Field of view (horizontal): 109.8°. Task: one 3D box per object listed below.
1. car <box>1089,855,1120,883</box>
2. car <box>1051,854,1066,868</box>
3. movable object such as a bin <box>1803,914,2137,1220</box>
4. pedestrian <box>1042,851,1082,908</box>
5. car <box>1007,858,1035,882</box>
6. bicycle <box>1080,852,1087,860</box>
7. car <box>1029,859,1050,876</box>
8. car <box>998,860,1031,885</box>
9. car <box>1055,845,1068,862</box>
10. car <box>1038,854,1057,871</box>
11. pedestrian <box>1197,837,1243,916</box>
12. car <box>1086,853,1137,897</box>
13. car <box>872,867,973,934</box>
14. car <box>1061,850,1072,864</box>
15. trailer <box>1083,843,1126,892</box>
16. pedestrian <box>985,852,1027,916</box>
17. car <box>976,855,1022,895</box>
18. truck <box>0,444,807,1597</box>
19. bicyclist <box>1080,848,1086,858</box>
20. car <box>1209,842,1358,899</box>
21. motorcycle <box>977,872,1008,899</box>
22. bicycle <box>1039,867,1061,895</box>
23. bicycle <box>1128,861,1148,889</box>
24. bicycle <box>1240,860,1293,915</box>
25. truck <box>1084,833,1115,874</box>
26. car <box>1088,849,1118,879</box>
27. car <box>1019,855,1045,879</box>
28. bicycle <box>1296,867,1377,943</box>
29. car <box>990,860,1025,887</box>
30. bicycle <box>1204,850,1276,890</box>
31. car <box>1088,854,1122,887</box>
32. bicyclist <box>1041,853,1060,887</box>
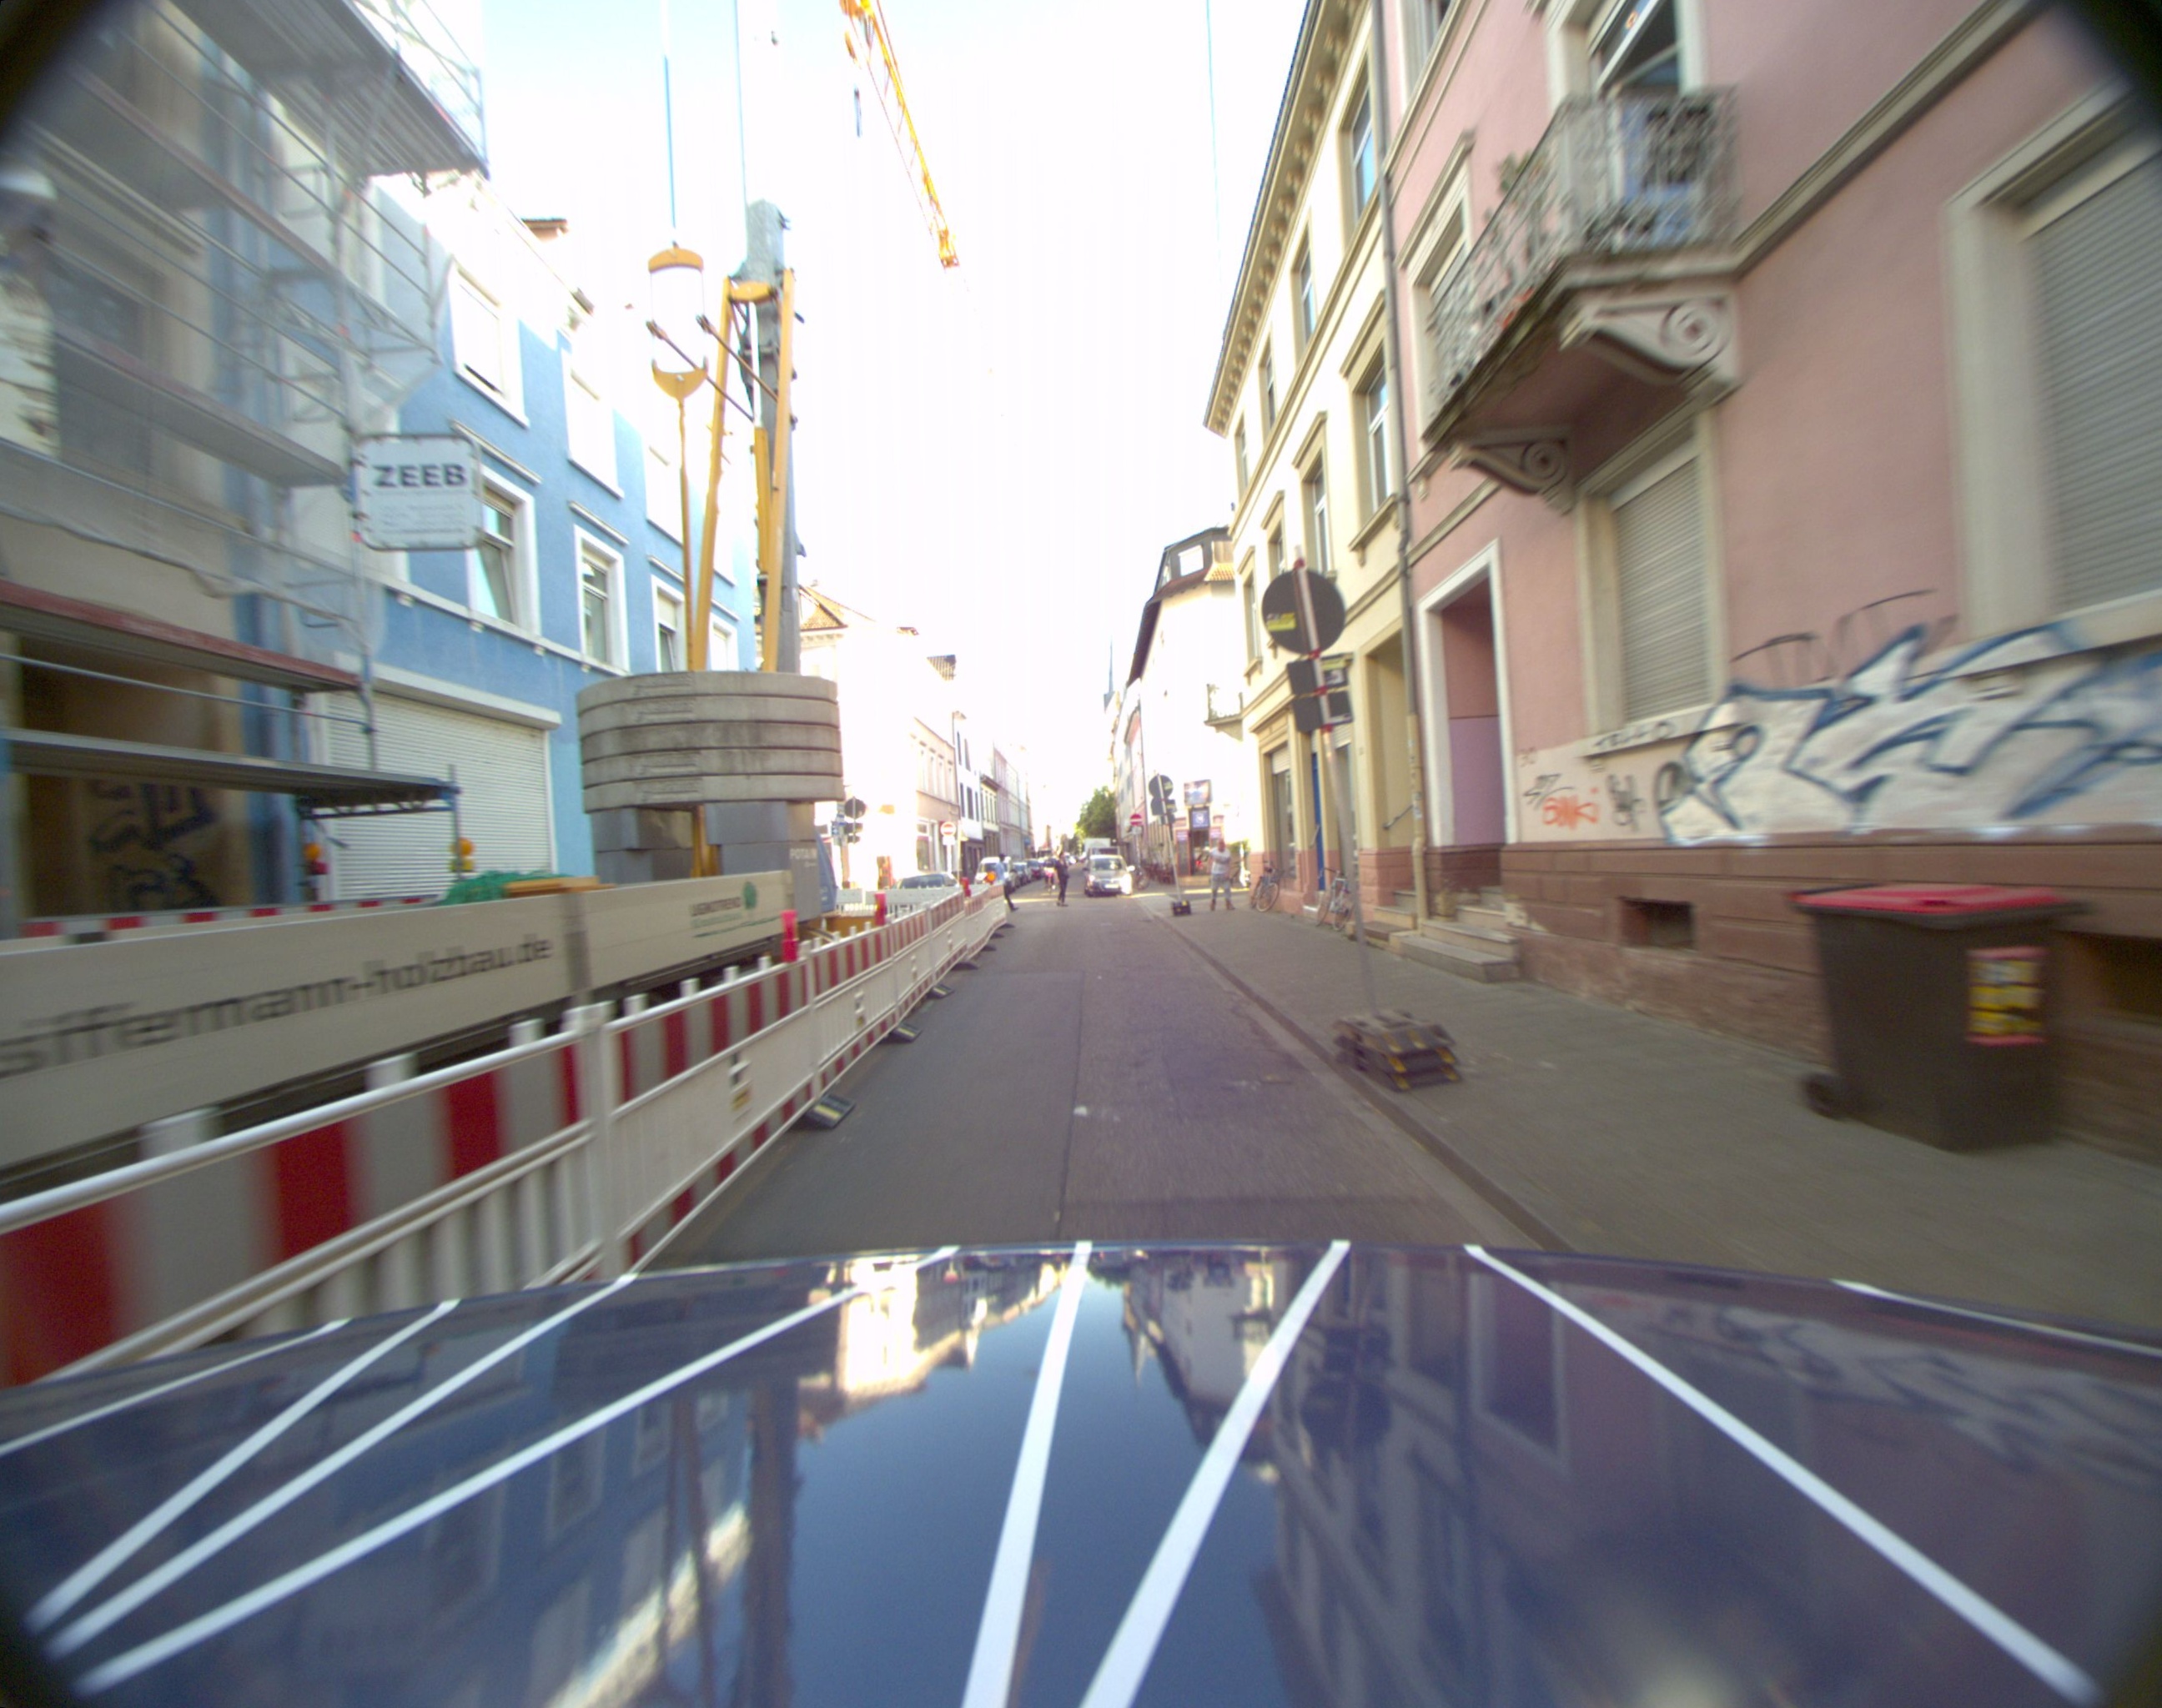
[{"bbox_3d":[1.339,0.853,44.934,1.677,1.488,4.530,-2,1,0],"label":"car"},{"bbox_3d":[-3.477,1.057,115.133,1.999,2.002,4.562,-5,1,-3],"label":"car"},{"bbox_3d":[3.548,0.806,3.085,0.607,1.029,0.596,-5,1,-1],"label":"movable object such as a bin"},{"bbox_3d":[-0.623,0.790,24.467,0.830,1.782,0.987,-2,1,-38],"label":"pedestrian"},{"bbox_3d":[-4.195,1.113,53.913,1.620,1.495,3.772,-2,1,0],"label":"car"},{"bbox_3d":[0.566,0.421,167.657,1.020,1.641,3.546,-5,1,-4],"label":"bicycle"},{"bbox_3d":[-3.790,1.209,69.315,1.613,1.388,3.881,-2,1,0],"label":"car"},{"bbox_3d":[-4.274,1.176,49.387,1.736,1.388,3.881,-2,1,0],"label":"car"},{"bbox_3d":[-3.462,-0.026,132.565,1.999,2.777,4.562,-5,1,-3],"label":"car"},{"bbox_3d":[-3.594,0.872,81.526,1.713,1.721,4.220,-2,1,0],"label":"car"},{"bbox_3d":[3.216,0.520,17.625,0.695,1.691,0.865,-8,-1,1],"label":"pedestrian"},{"bbox_3d":[1.148,0.791,30.223,1.726,1.596,4.166,-2,0,-1],"label":"car"},{"bbox_3d":[-4.172,1.184,20.648,1.776,1.426,4.033,-4,0,0],"label":"car"},{"bbox_3d":[-2.977,0.602,158.752,1.999,2.777,4.562,-5,1,-3],"label":"car"},{"bbox_3d":[1.016,0.562,34.843,1.666,2.049,4.362,-2,1,-2],"label":"trailer"},{"bbox_3d":[-2.253,0.894,22.737,0.770,1.839,0.781,-4,1,40],"label":"pedestrian"},{"bbox_3d":[-4.053,1.015,38.283,1.753,1.806,4.369,-1,1,0],"label":"car"},{"bbox_3d":[-3.952,0.444,3.041,2.668,2.798,7.392,-5,1,1],"label":"truck"},{"bbox_3d":[0.495,-0.227,167.623,1.020,2.280,1.531,-5,1,-4],"label":"bicyclist"},{"bbox_3d":[6.373,0.510,24.207,4.150,1.447,1.758,-4,0,-2],"label":"car"},{"bbox_3d":[-4.036,1.435,34.816,0.720,1.080,1.997,-4,1,12],"label":"motorcycle"},{"bbox_3d":[-1.332,1.161,33.154,0.710,1.105,1.935,-3,0,3],"label":"bicycle"},{"bbox_3d":[2.512,0.904,33.562,0.578,1.132,1.460,-5,1,-5],"label":"bicycle"},{"bbox_3d":[3.993,0.695,16.485,0.605,1.016,1.818,-7,0,1],"label":"bicycle"},{"bbox_3d":[1.599,-0.053,64.430,2.296,3.165,7.044,-3,1,2],"label":"truck"},{"bbox_3d":[1.389,0.634,50.301,1.807,1.834,4.243,-3,1,0],"label":"car"},{"bbox_3d":[-3.958,1.027,61.973,1.713,1.721,4.407,-2,1,0],"label":"car"},{"bbox_3d":[3.947,0.758,11.882,0.623,1.016,1.818,-5,0,1],"label":"bicycle"},{"bbox_3d":[-4.240,1.120,44.195,1.613,1.400,3.881,-1,1,0],"label":"car"},{"bbox_3d":[5.976,0.602,28.655,2.481,1.351,0.928,-3,1,2],"label":"bicycle"},{"bbox_3d":[1.222,0.832,40.060,1.681,1.546,3.817,-2,1,0],"label":"car"},{"bbox_3d":[-1.327,0.698,33.121,0.710,1.427,0.790,-3,1,3],"label":"bicyclist"}]
